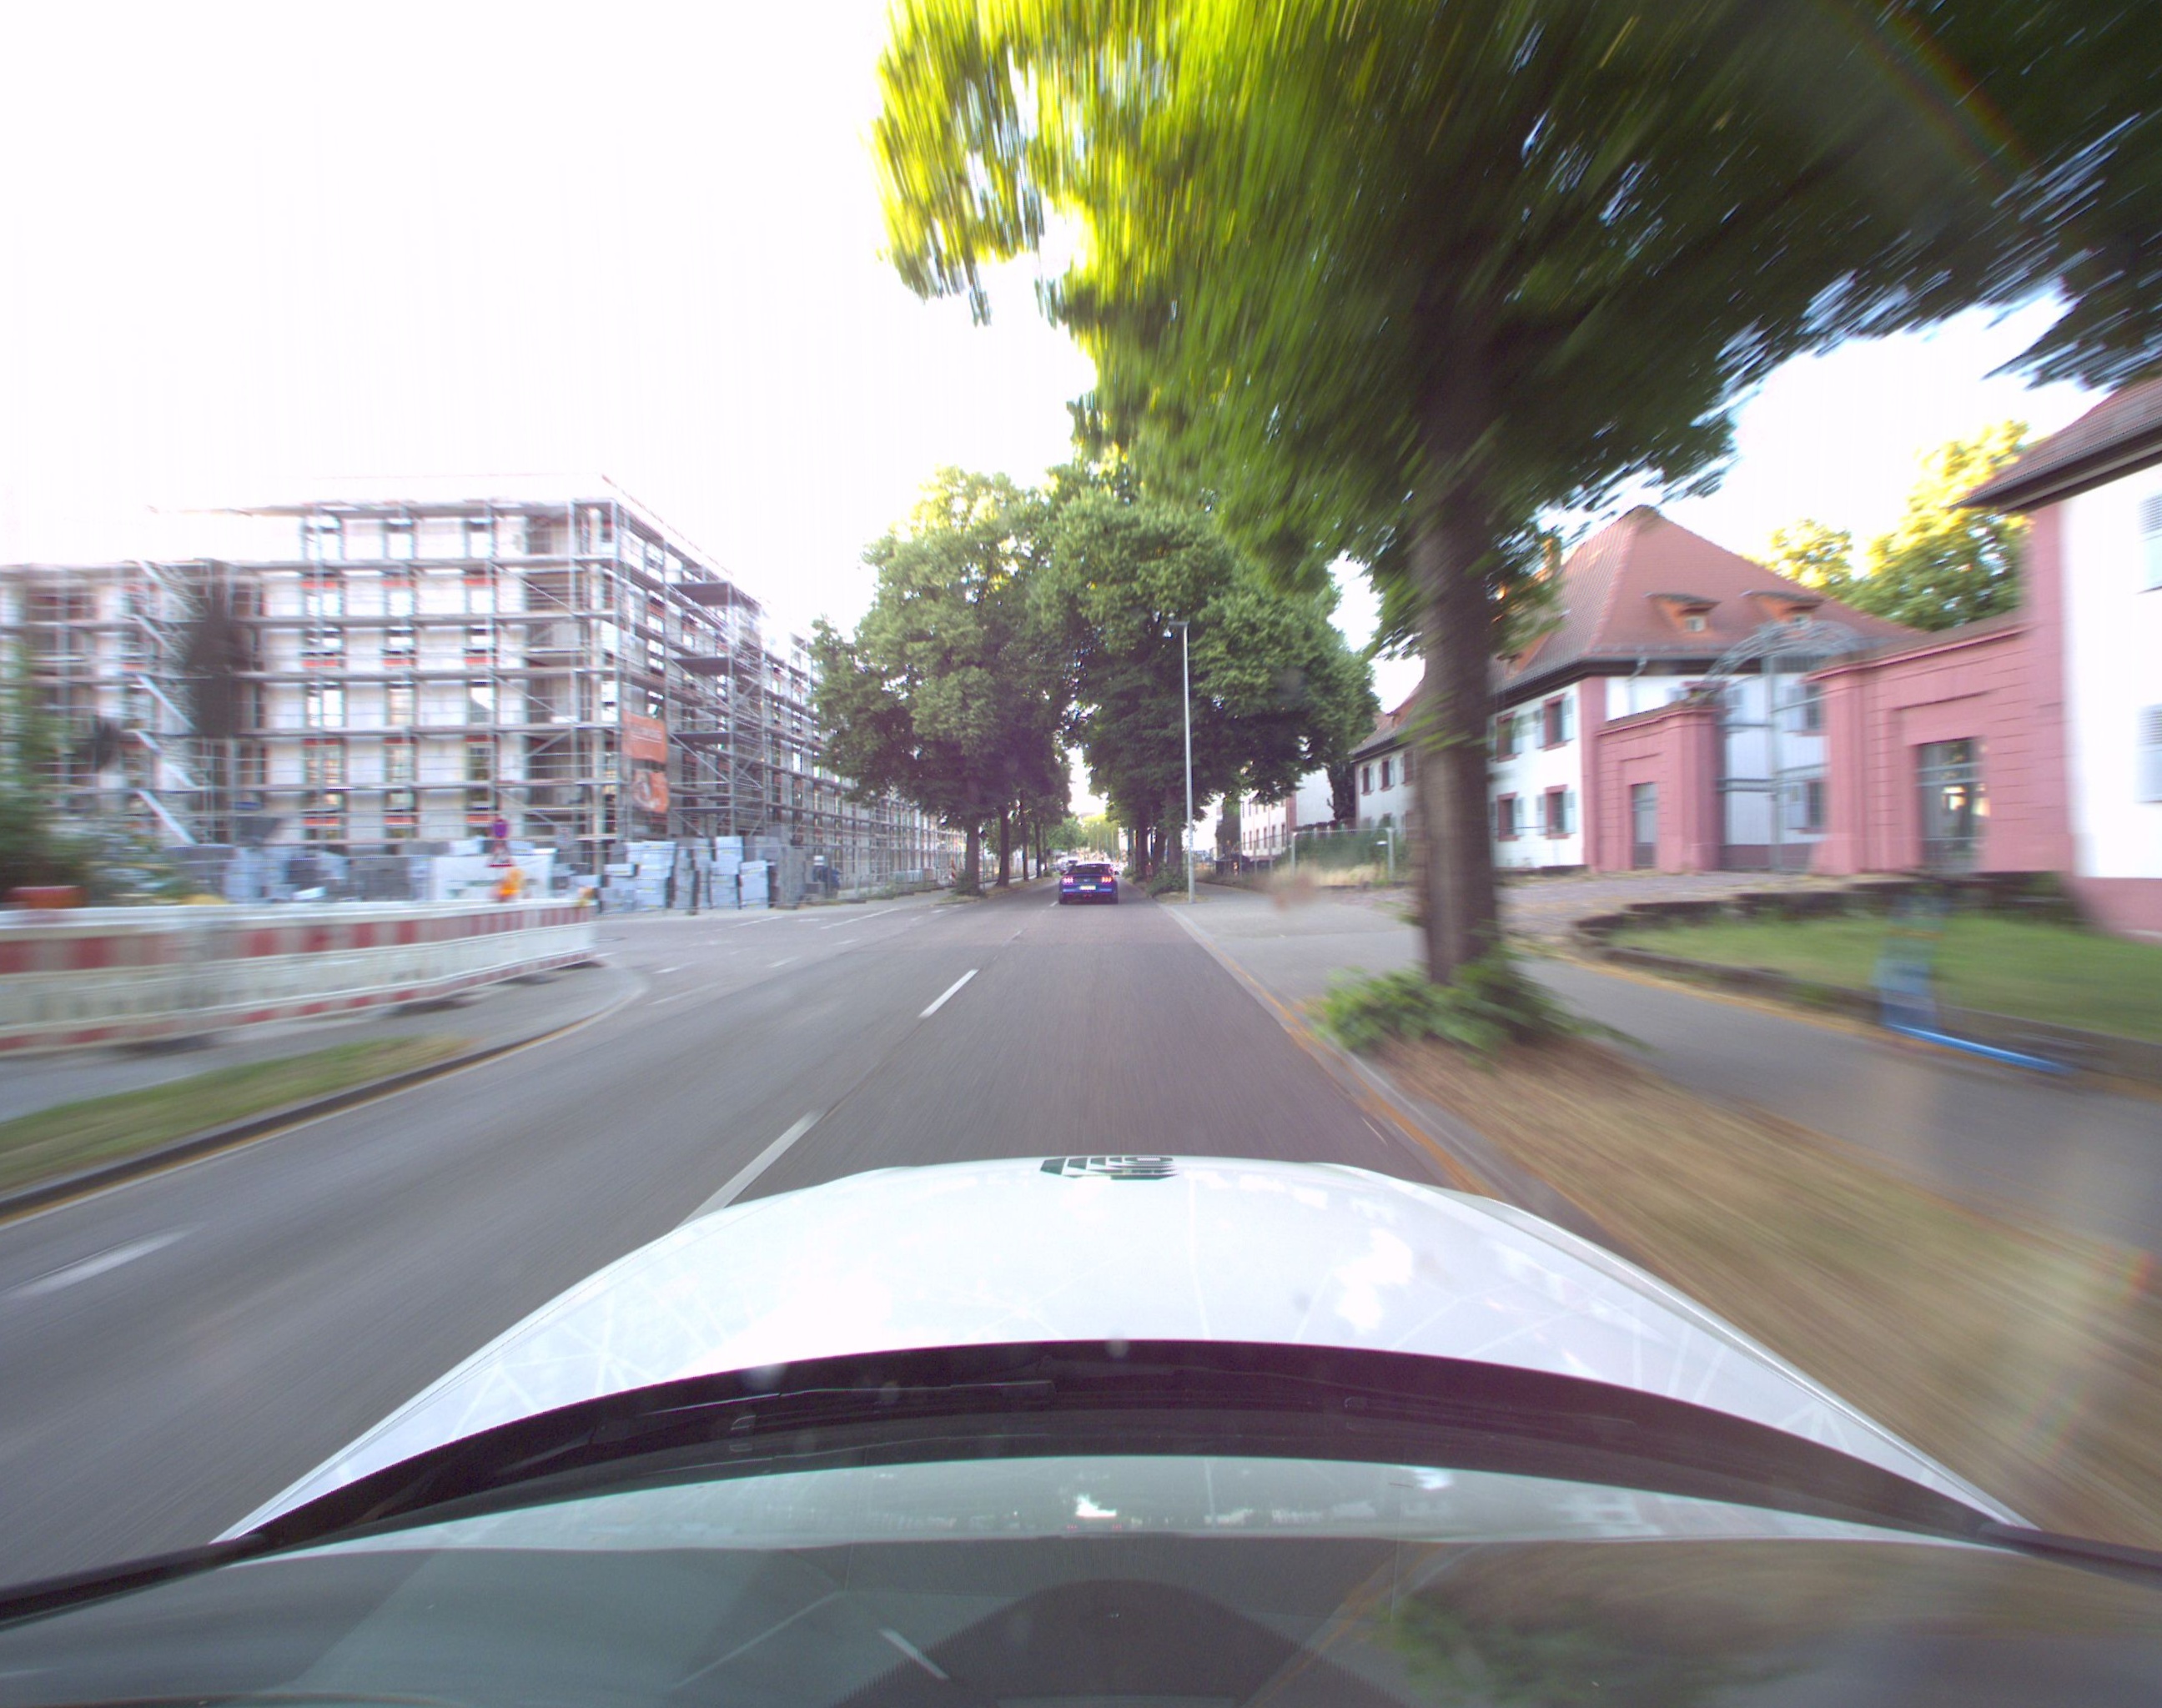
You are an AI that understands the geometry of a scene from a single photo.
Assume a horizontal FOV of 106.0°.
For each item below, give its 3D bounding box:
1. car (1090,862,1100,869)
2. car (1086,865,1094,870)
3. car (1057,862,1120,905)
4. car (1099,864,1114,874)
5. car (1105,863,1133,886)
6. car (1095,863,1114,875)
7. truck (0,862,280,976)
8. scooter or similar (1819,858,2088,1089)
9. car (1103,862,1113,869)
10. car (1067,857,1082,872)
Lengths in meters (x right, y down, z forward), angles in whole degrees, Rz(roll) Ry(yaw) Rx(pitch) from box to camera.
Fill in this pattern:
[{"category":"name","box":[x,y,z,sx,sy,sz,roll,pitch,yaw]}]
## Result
[{"category":"car","box":[2.895,2.361,166.286,1.940,1.326,4.001,0,0,1]},{"category":"car","box":[2.144,3.339,201.217,1.940,1.326,4.001,0,0,1]},{"category":"car","box":[0.288,0.943,27.331,1.940,1.326,4.001,0,0,1]},{"category":"car","box":[3.435,1.978,110.663,1.940,1.326,4.001,0,0,1]},{"category":"car","box":[2.795,1.434,58.613,1.938,1.527,4.004,0,0,3]},{"category":"car","box":[2.630,1.688,91.156,1.938,1.326,4.004,0,0,3]},{"category":"truck","box":[-18.932,1.226,15.394,5.621,1.913,2.041,-2,-2,1]},{"category":"scooter or similar","box":[5.425,0.672,5.160,0.238,1.276,1.265,-2,-1,-3]},{"category":"car","box":[5.501,2.378,166.825,1.940,1.326,4.001,0,0,1]},{"category":"car","box":[-1.236,1.956,149.315,2.483,2.697,5.831,-2,-1,1]}]
